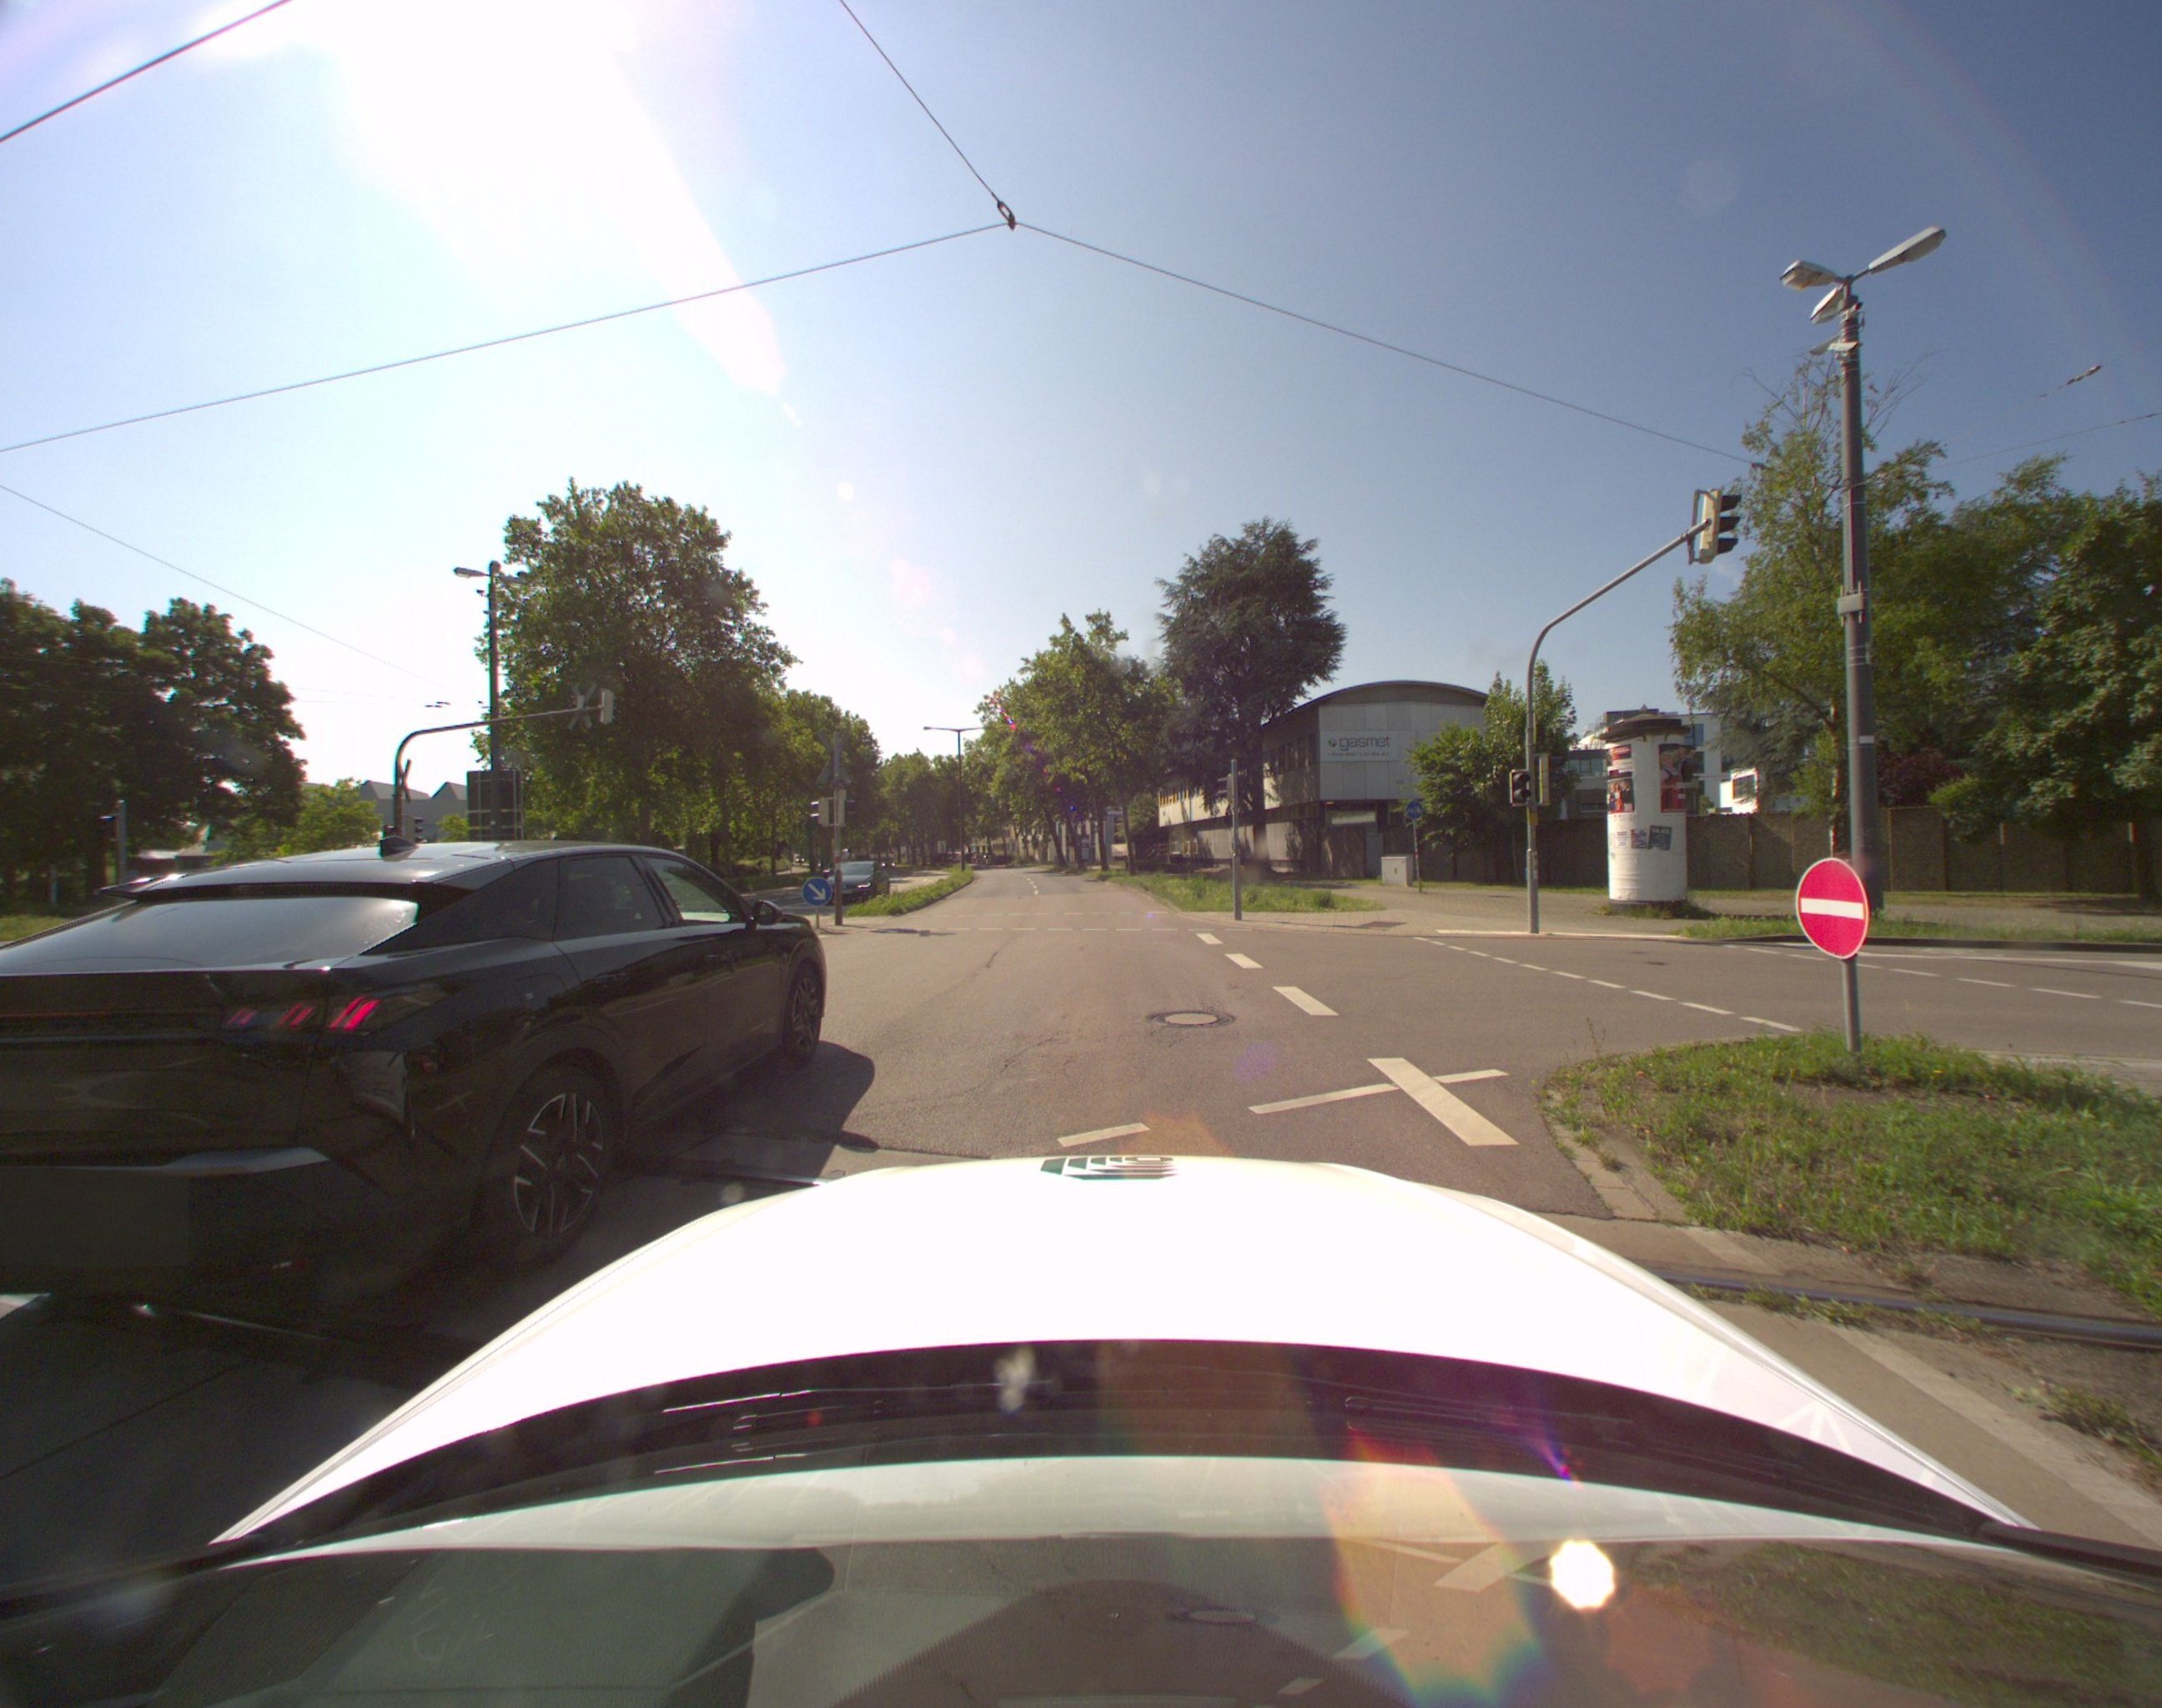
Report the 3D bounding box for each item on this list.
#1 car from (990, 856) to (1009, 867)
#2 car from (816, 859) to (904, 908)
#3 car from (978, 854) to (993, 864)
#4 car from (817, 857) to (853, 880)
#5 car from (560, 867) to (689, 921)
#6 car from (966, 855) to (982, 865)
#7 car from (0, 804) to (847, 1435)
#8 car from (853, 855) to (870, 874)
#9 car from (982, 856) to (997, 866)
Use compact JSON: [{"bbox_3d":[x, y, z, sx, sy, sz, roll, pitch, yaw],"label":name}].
[{"bbox_3d":[-11.984,1.094,119.256,1.712,1.487,4.688,-2,1,-20],"label":"car"},{"bbox_3d":[-7.729,0.987,28.863,1.686,1.508,4.135,-1,0,4],"label":"car"},{"bbox_3d":[-15.265,0.790,129.653,1.710,1.455,4.631,-1,1,-16],"label":"car"},{"bbox_3d":[-18.514,1.061,61.487,1.706,1.589,4.425,-2,1,-5],"label":"car"},{"bbox_3d":[-14.984,1.258,27.056,1.689,1.508,4.659,-1,0,-1],"label":"car"},{"bbox_3d":[-18.556,0.974,141.071,1.713,1.669,4.502,-2,1,-21],"label":"car"},{"bbox_3d":[-2.859,0.694,4.413,1.866,1.696,4.435,-1,1,0],"label":"car"},{"bbox_3d":[-31.386,1.500,116.695,2.063,2.613,7.183,-2,0,-14],"label":"car"},{"bbox_3d":[-14.002,1.017,124.193,1.710,1.487,4.079,-1,1,-16],"label":"car"}]
